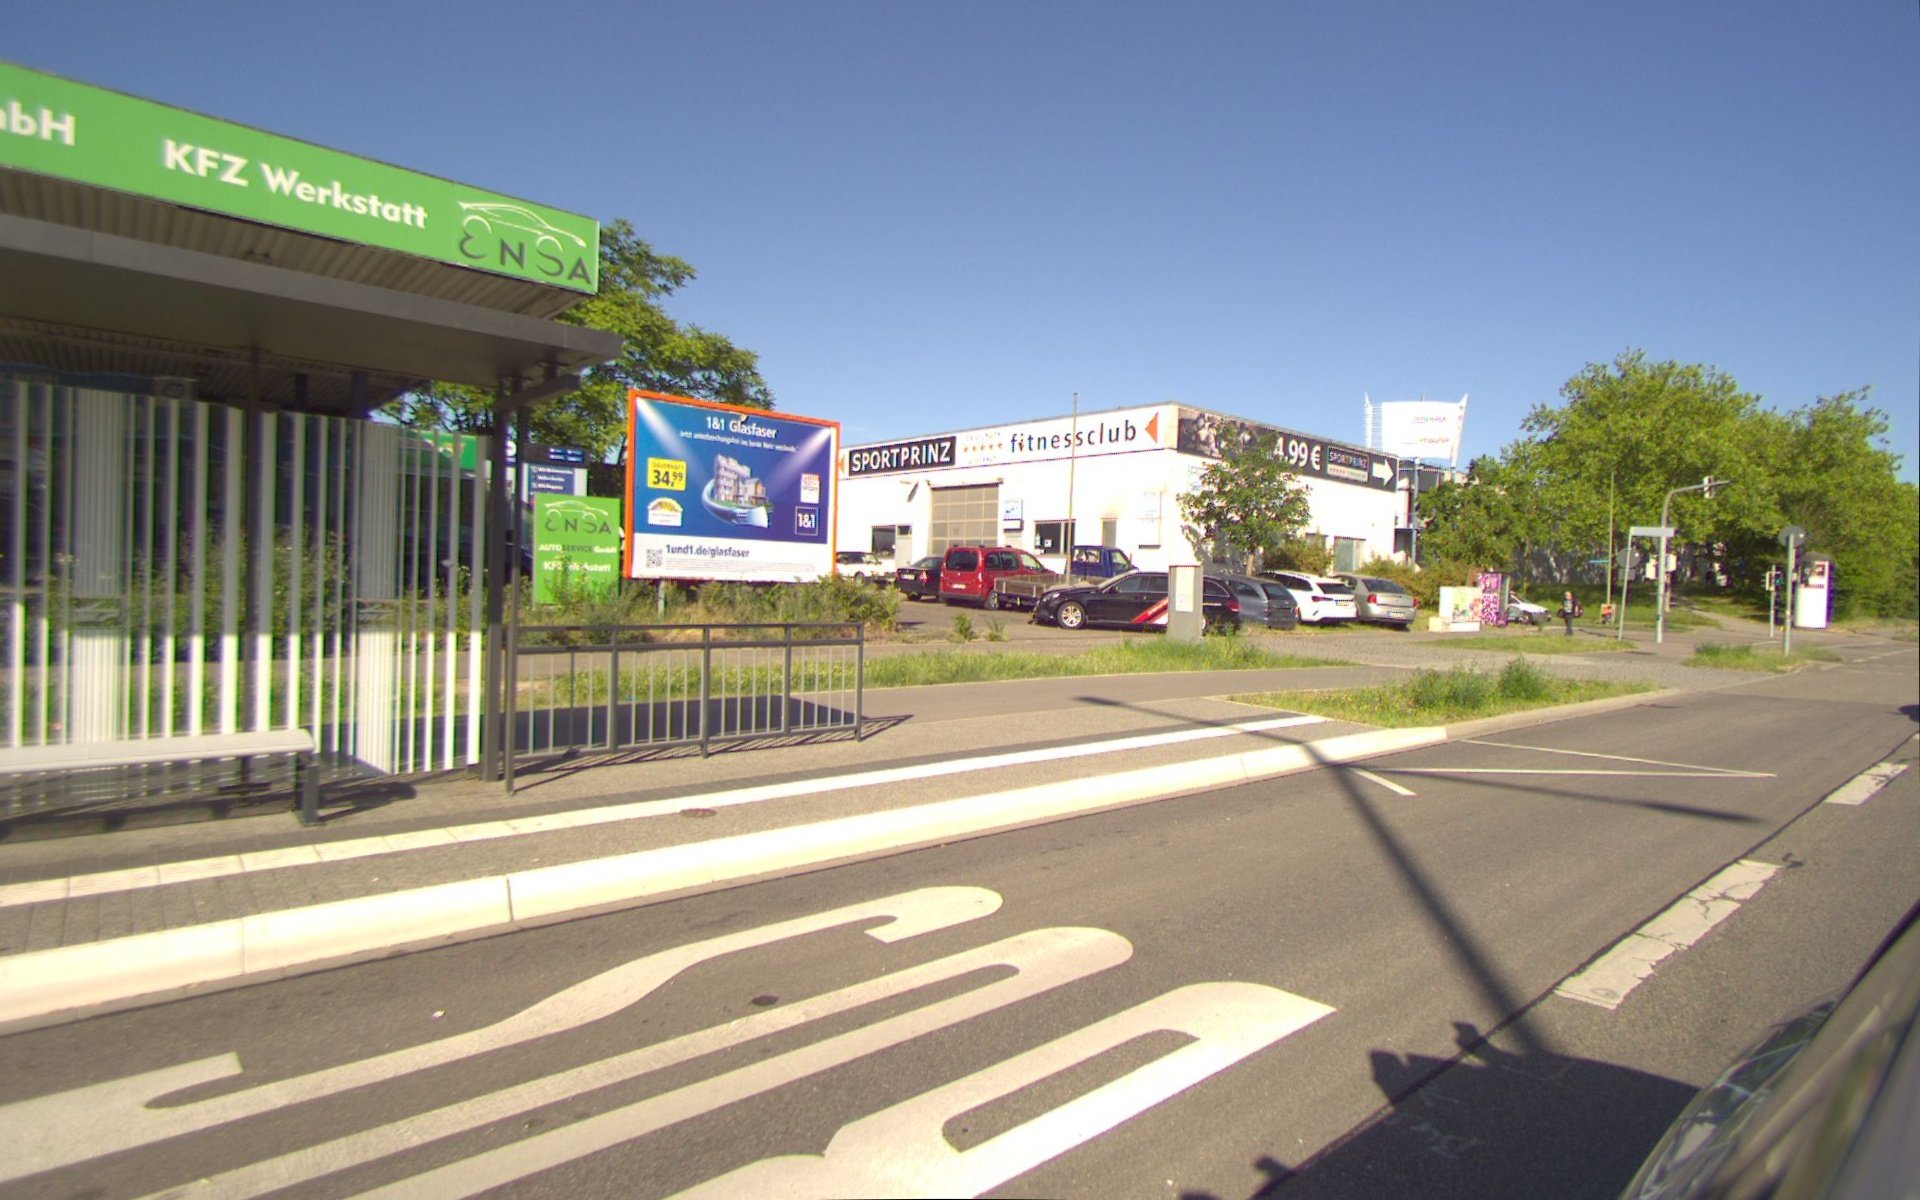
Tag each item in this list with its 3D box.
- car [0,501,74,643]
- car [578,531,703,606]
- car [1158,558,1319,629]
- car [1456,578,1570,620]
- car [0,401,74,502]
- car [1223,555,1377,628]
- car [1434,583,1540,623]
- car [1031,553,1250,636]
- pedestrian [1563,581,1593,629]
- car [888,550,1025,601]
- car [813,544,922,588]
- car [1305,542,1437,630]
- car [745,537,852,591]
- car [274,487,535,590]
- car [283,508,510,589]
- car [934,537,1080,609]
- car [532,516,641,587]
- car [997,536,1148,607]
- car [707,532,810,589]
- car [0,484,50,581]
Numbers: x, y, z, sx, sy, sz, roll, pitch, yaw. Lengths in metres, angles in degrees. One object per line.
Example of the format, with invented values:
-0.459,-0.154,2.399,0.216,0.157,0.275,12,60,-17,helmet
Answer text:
-12.493,-0.355,11.043,4.173,1.592,1.748,1,1,-40,car
-8.528,-0.901,26.860,1.817,1.565,3.775,-3,9,-41,car
7.296,-0.215,26.755,1.808,1.304,3.620,0,9,-39,car
27.853,-0.067,51.077,1.839,1.958,4.691,0,1,-40,car
-19.277,-2.879,19.157,3.711,1.776,1.923,0,3,-40,car
9.607,-0.293,28.895,1.690,1.468,3.943,2,8,-29,car
25.335,0.118,48.781,1.868,1.665,4.101,-1,3,-39,car
4.113,-0.176,23.715,4.748,1.549,1.900,4,3,3,car
22.864,0.163,37.464,0.607,1.737,0.759,1,1,-41,pedestrian
-0.061,-0.817,31.693,4.147,1.266,1.771,-3,9,-43,car
-3.545,-1.302,38.278,1.959,1.425,4.212,1,4,-41,car
12.308,-0.496,30.620,1.652,2.035,4.013,5,7,-9,car
-6.044,-1.386,37.593,1.960,1.537,4.215,-3,9,-41,car
-10.243,-1.041,18.790,3.930,1.668,1.997,0,0,-41,car
-11.306,-0.995,20.516,3.628,1.439,1.695,2,0,-6,car
1.440,-0.799,30.057,4.146,1.883,1.896,-1,5,-43,car
-11.072,-1.355,29.888,1.890,1.931,3.697,0,0,-40,car
3.294,-0.819,29.042,4.519,1.804,1.686,-1,5,-43,car
-7.047,-1.418,35.107,1.637,1.617,4.214,-3,8,-41,car
-16.183,-1.060,14.740,1.970,1.505,3.985,0,0,13,car
